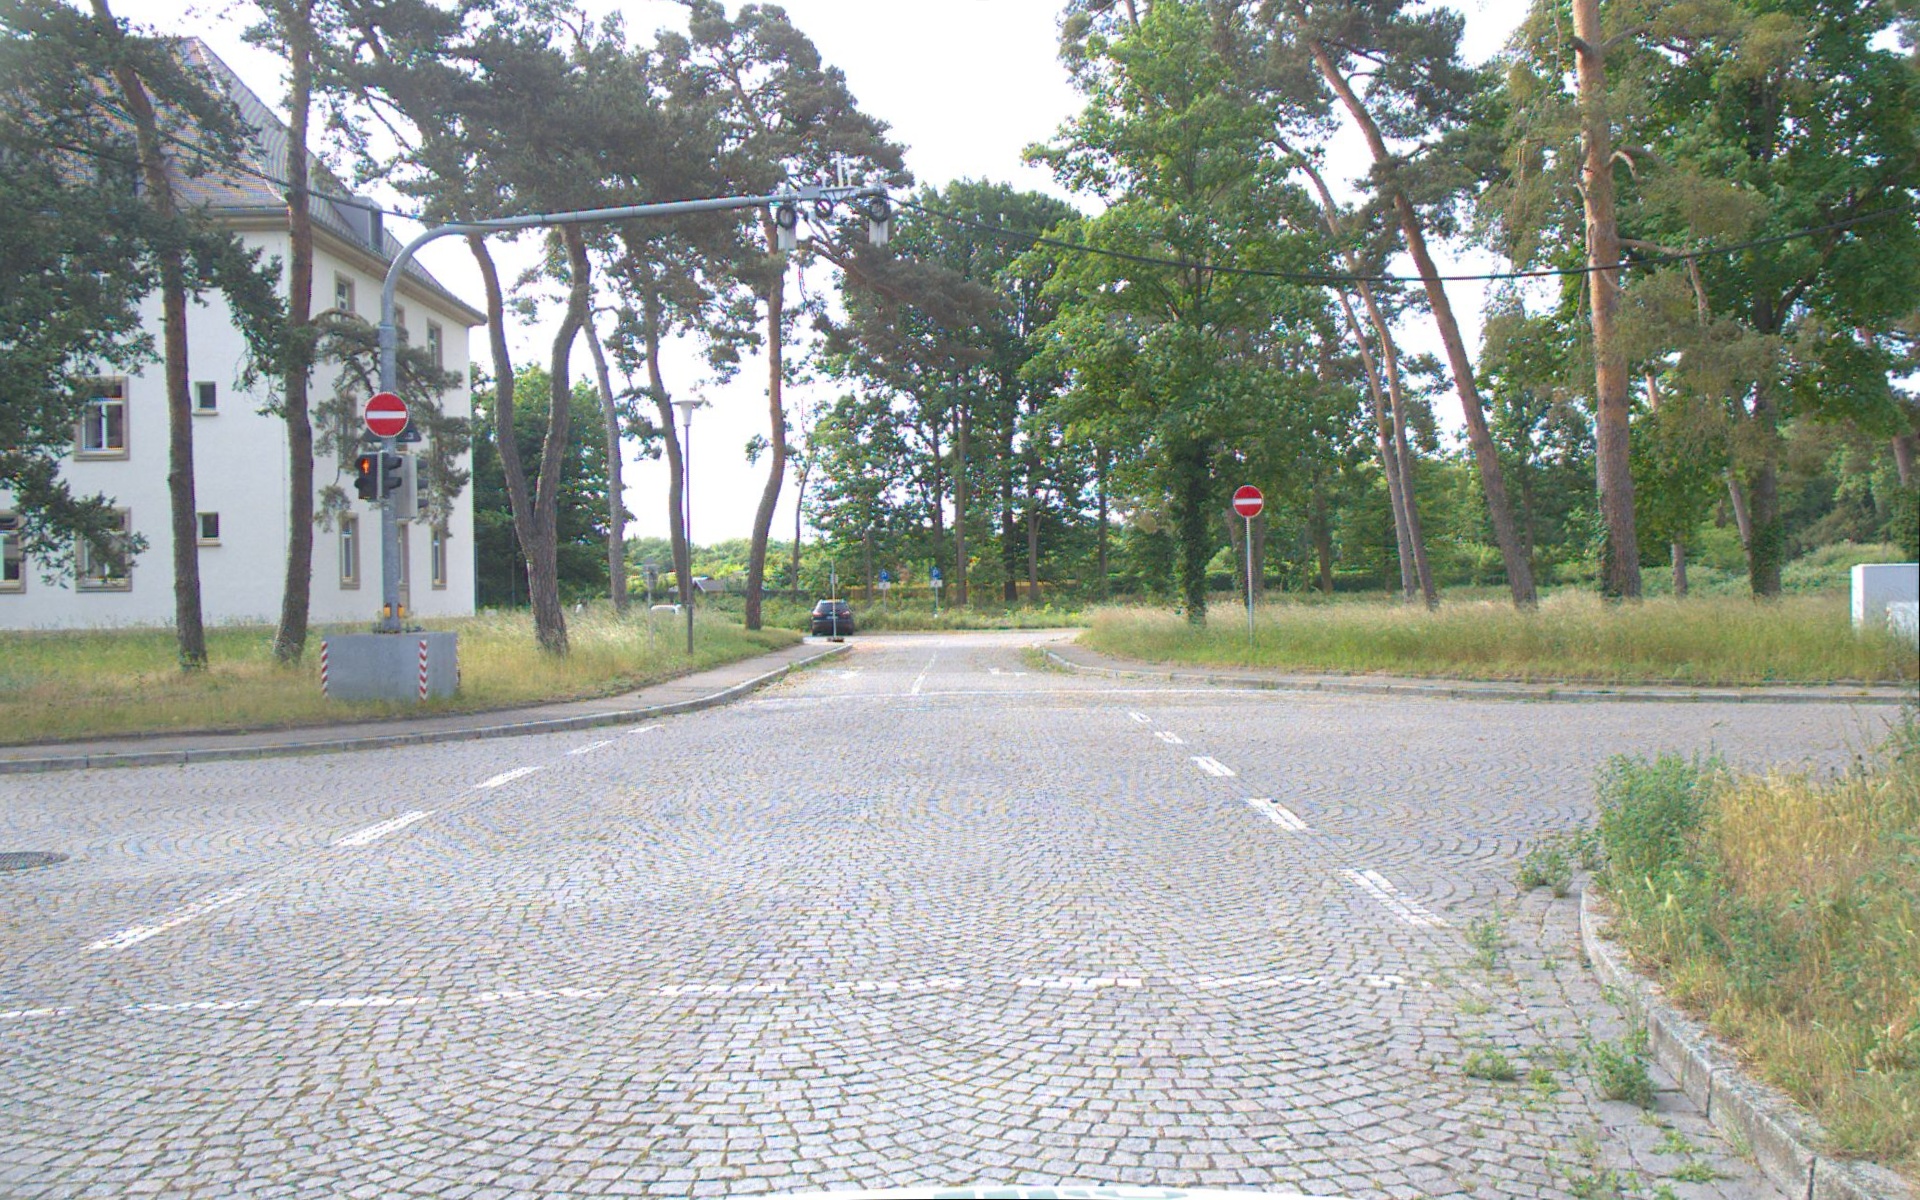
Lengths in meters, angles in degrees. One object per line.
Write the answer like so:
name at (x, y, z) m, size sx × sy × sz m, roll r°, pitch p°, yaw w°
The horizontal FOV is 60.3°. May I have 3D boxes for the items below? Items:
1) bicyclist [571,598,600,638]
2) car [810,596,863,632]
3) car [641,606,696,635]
bicyclist at (-14.853, 0.705, 65.623) m, size 0.955 × 1.537 × 0.807 m, roll -1°, pitch 0°, yaw -3°
car at (-5.435, 0.612, 73.253) m, size 1.952 × 1.534 × 4.001 m, roll 0°, pitch 0°, yaw 1°
car at (-13.059, 0.904, 74.323) m, size 1.654 × 1.176 × 4.001 m, roll -1°, pitch 0°, yaw 1°
